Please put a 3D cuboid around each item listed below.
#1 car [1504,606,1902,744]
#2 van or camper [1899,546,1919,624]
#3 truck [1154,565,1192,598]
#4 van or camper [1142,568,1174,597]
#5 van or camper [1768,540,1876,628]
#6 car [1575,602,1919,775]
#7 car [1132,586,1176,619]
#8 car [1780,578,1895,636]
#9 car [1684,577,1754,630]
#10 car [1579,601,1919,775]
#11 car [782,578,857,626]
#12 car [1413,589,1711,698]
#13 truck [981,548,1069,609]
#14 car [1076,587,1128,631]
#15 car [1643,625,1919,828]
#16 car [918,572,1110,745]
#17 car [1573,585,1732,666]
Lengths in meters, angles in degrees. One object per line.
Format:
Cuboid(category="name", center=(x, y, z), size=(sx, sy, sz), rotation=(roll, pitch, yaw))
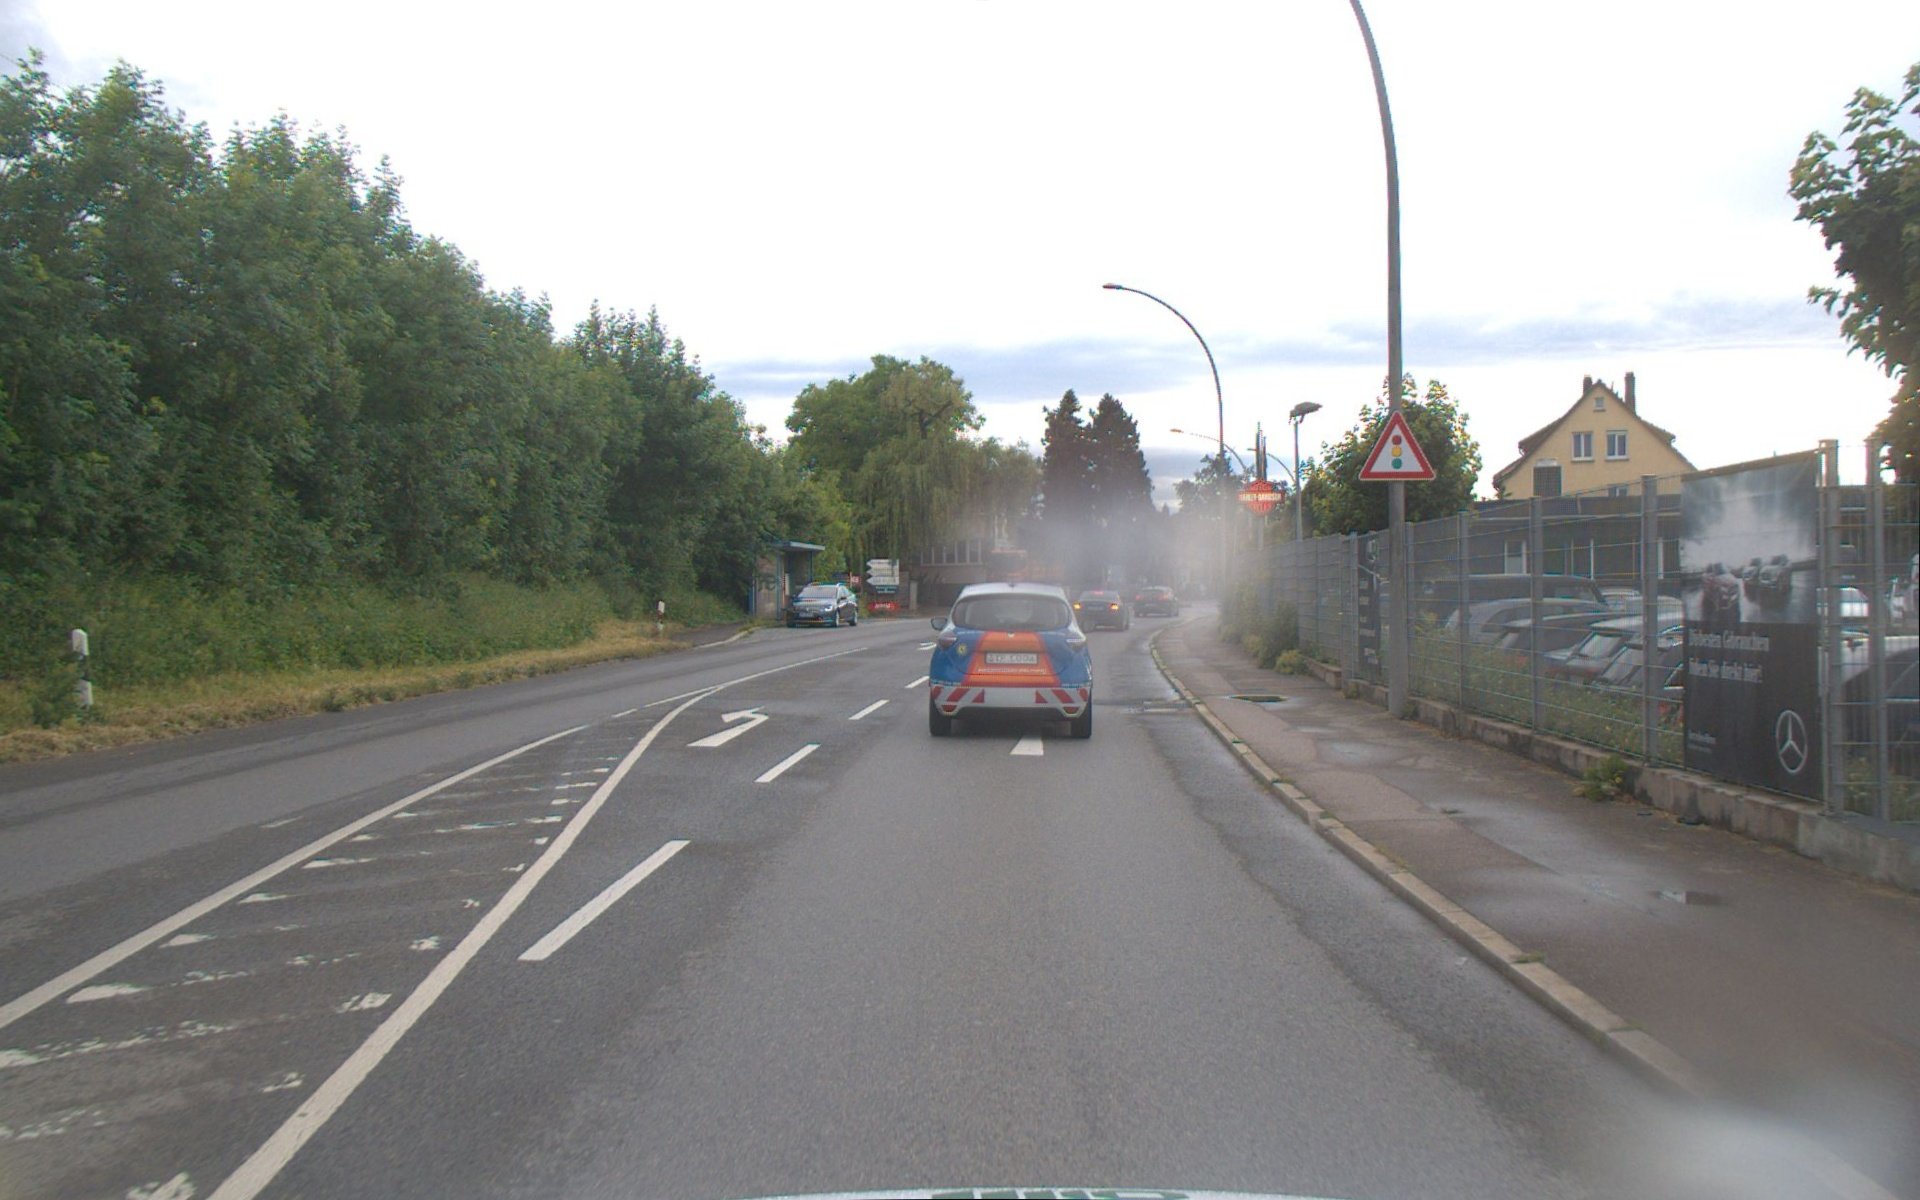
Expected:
Cuboid(category="car", center=(8.810, 0.865, 19.920), size=(3.903, 1.428, 2.001), rotation=(2, -1, 5))
Cuboid(category="van or camper", center=(26.163, -0.377, 43.370), size=(1.953, 1.972, 5.429), rotation=(2, -1, 22))
Cuboid(category="truck", center=(20.398, -1.784, 157.894), size=(2.345, 2.978, 5.958), rotation=(2, 0, 20))
Cuboid(category="van or camper", center=(18.283, -1.603, 152.571), size=(1.820, 2.480, 5.235), rotation=(2, -1, 18))
Cuboid(category="van or camper", center=(26.950, -0.513, 51.906), size=(2.284, 2.601, 5.741), rotation=(-1, 1, 21))
Cuboid(category="car", center=(8.950, 0.926, 17.618), size=(4.086, 1.626, 1.969), rotation=(2, -1, 4))
Cuboid(category="car", center=(9.123, 0.136, 78.035), size=(1.951, 1.445, 4.002), rotation=(2, -1, 6))
Cuboid(category="car", center=(24.245, 0.217, 45.834), size=(1.850, 1.445, 4.468), rotation=(2, -1, 16))
Cuboid(category="car", center=(23.804, 0.084, 51.986), size=(1.603, 1.599, 3.398), rotation=(-1, 1, 18))
Cuboid(category="car", center=(7.992, 0.811, 15.300), size=(3.906, 1.433, 1.593), rotation=(2, -1, -2))
Cuboid(category="car", center=(-4.794, 0.095, 56.982), size=(1.952, 1.500, 4.701), rotation=(2, -1, 2))
Cuboid(category="car", center=(8.904, 0.638, 24.765), size=(3.902, 1.428, 1.791), rotation=(2, -1, 9))
Cuboid(category="truck", center=(4.276, -1.326, 106.295), size=(2.643, 3.471, 9.069), rotation=(2, -1, 22))
Cuboid(category="car", center=(4.965, 0.330, 57.313), size=(1.684, 1.400, 3.936), rotation=(2, -1, 6))
Cuboid(category="car", center=(7.688, 0.963, 12.731), size=(4.023, 1.394, 2.000), rotation=(2, -1, 1))
Cuboid(category="car", center=(0.573, 0.556, 18.209), size=(1.849, 1.660, 4.001), rotation=(1, 0, 1))
Cuboid(category="car", center=(14.399, 0.537, 34.624), size=(1.746, 1.532, 4.301), rotation=(2, -1, 4))
